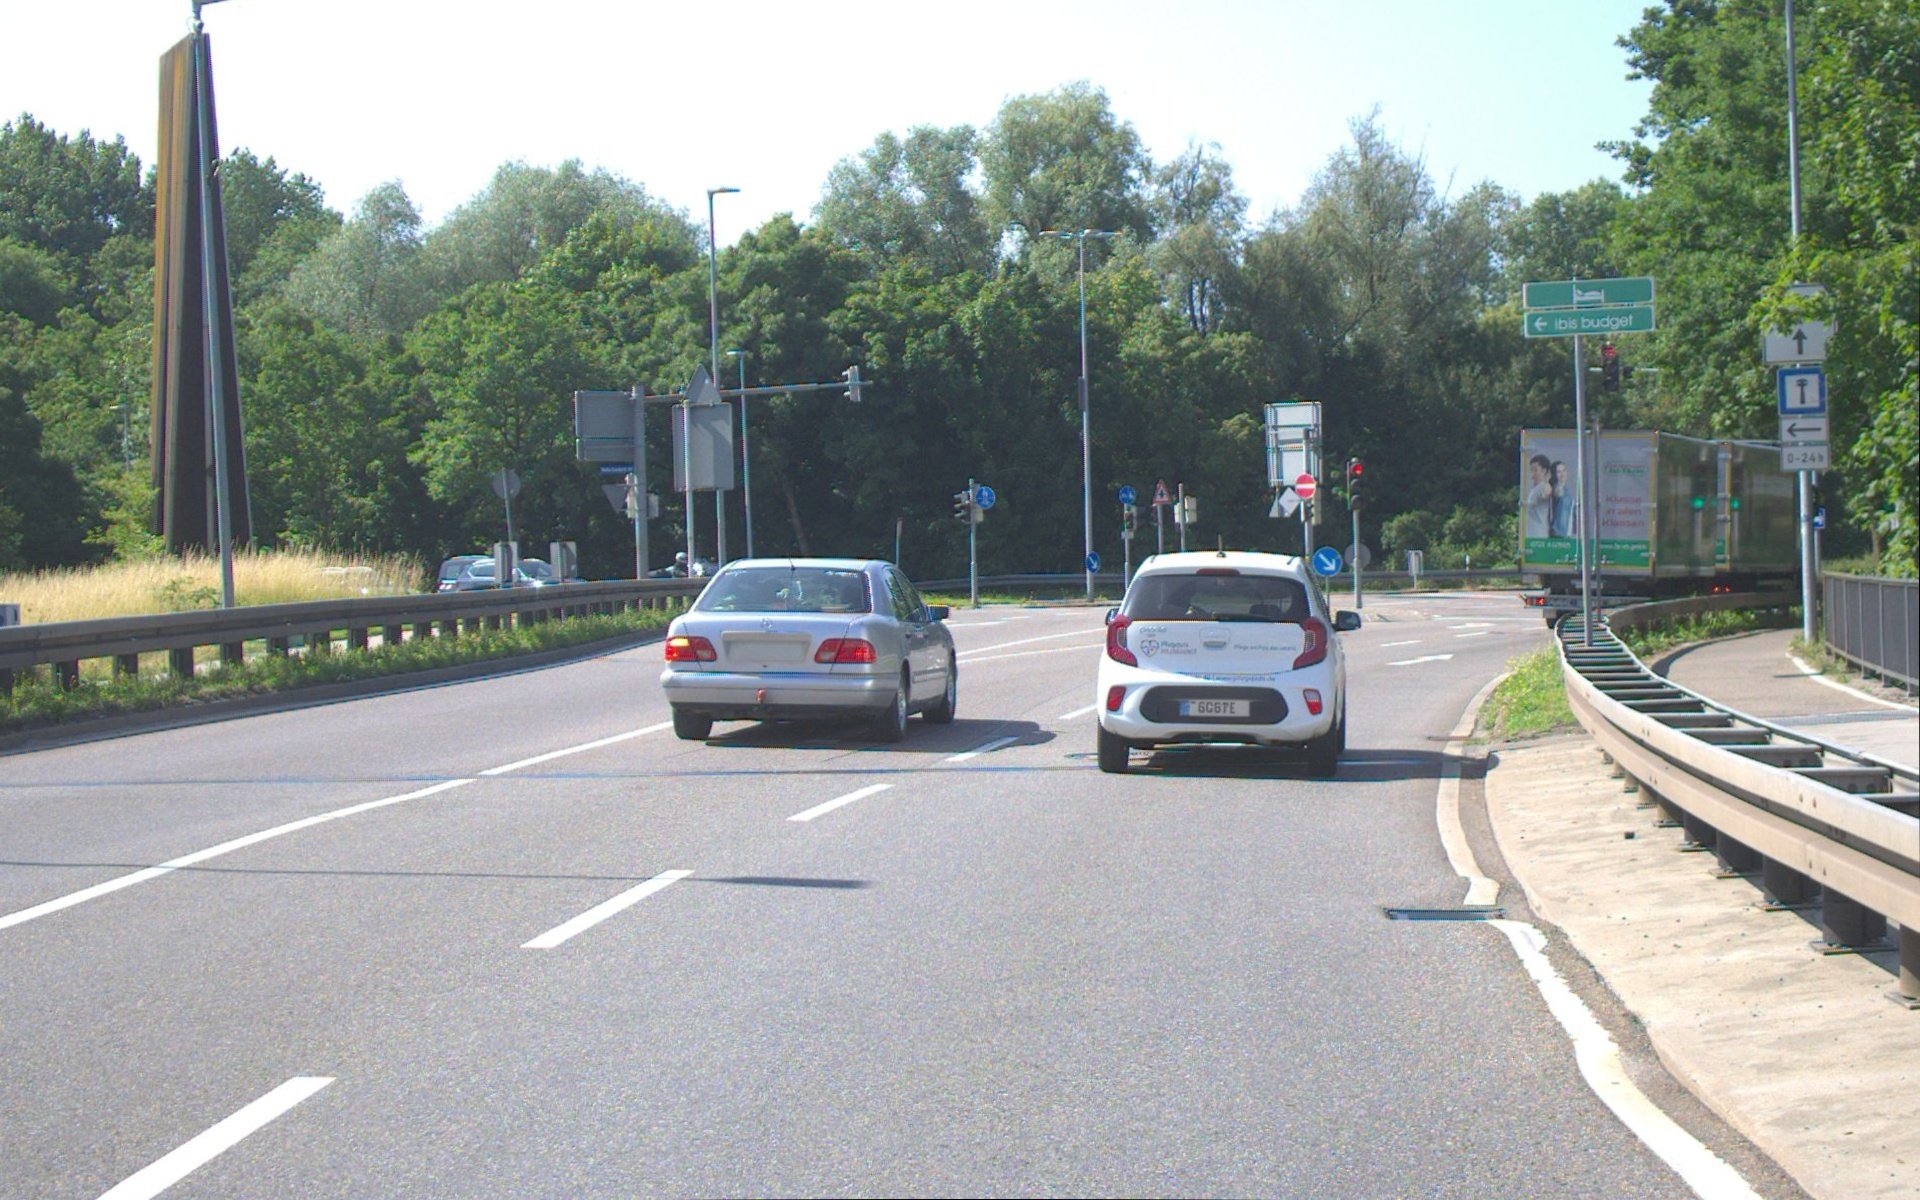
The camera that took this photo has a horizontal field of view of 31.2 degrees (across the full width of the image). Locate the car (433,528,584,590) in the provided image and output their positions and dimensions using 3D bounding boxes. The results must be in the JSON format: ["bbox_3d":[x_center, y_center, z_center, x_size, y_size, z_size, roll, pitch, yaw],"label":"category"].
[{"bbox_3d":[-12.051,-1.077,91.607,3.996,1.384,1.698,-3,-3,40],"label":"car"}]

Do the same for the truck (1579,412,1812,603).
[{"bbox_3d":[15.740,-1.916,73.071,3.264,3.745,8.361,3,2,22],"label":"truck"}]

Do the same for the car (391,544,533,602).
[{"bbox_3d":[-14.131,-0.750,97.494,3.996,1.384,1.763,-3,-3,40],"label":"car"}]

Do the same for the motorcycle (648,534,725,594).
[{"bbox_3d":[-7.522,-0.980,94.414,1.980,1.524,0.897,-3,-2,37],"label":"motorcycle"}]

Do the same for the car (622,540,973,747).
[{"bbox_3d":[-1.180,0.273,27.474,1.939,1.481,4.899,1,1,8],"label":"car"}]

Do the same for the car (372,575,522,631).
[{"bbox_3d":[-14.716,0.109,98.588,3.996,1.384,2.118,-3,-3,40],"label":"car"}]

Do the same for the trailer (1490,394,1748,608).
[{"bbox_3d":[12.694,-1.844,65.637,3.228,3.745,7.815,3,2,22],"label":"trailer"}]

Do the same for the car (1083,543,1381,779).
[{"bbox_3d":[2.003,0.374,24.321,1.702,1.489,3.998,1,1,10],"label":"car"}]

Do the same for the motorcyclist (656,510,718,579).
[{"bbox_3d":[-7.486,-1.508,94.377,1.462,1.864,0.890,0,0,37],"label":"motorcyclist"}]
